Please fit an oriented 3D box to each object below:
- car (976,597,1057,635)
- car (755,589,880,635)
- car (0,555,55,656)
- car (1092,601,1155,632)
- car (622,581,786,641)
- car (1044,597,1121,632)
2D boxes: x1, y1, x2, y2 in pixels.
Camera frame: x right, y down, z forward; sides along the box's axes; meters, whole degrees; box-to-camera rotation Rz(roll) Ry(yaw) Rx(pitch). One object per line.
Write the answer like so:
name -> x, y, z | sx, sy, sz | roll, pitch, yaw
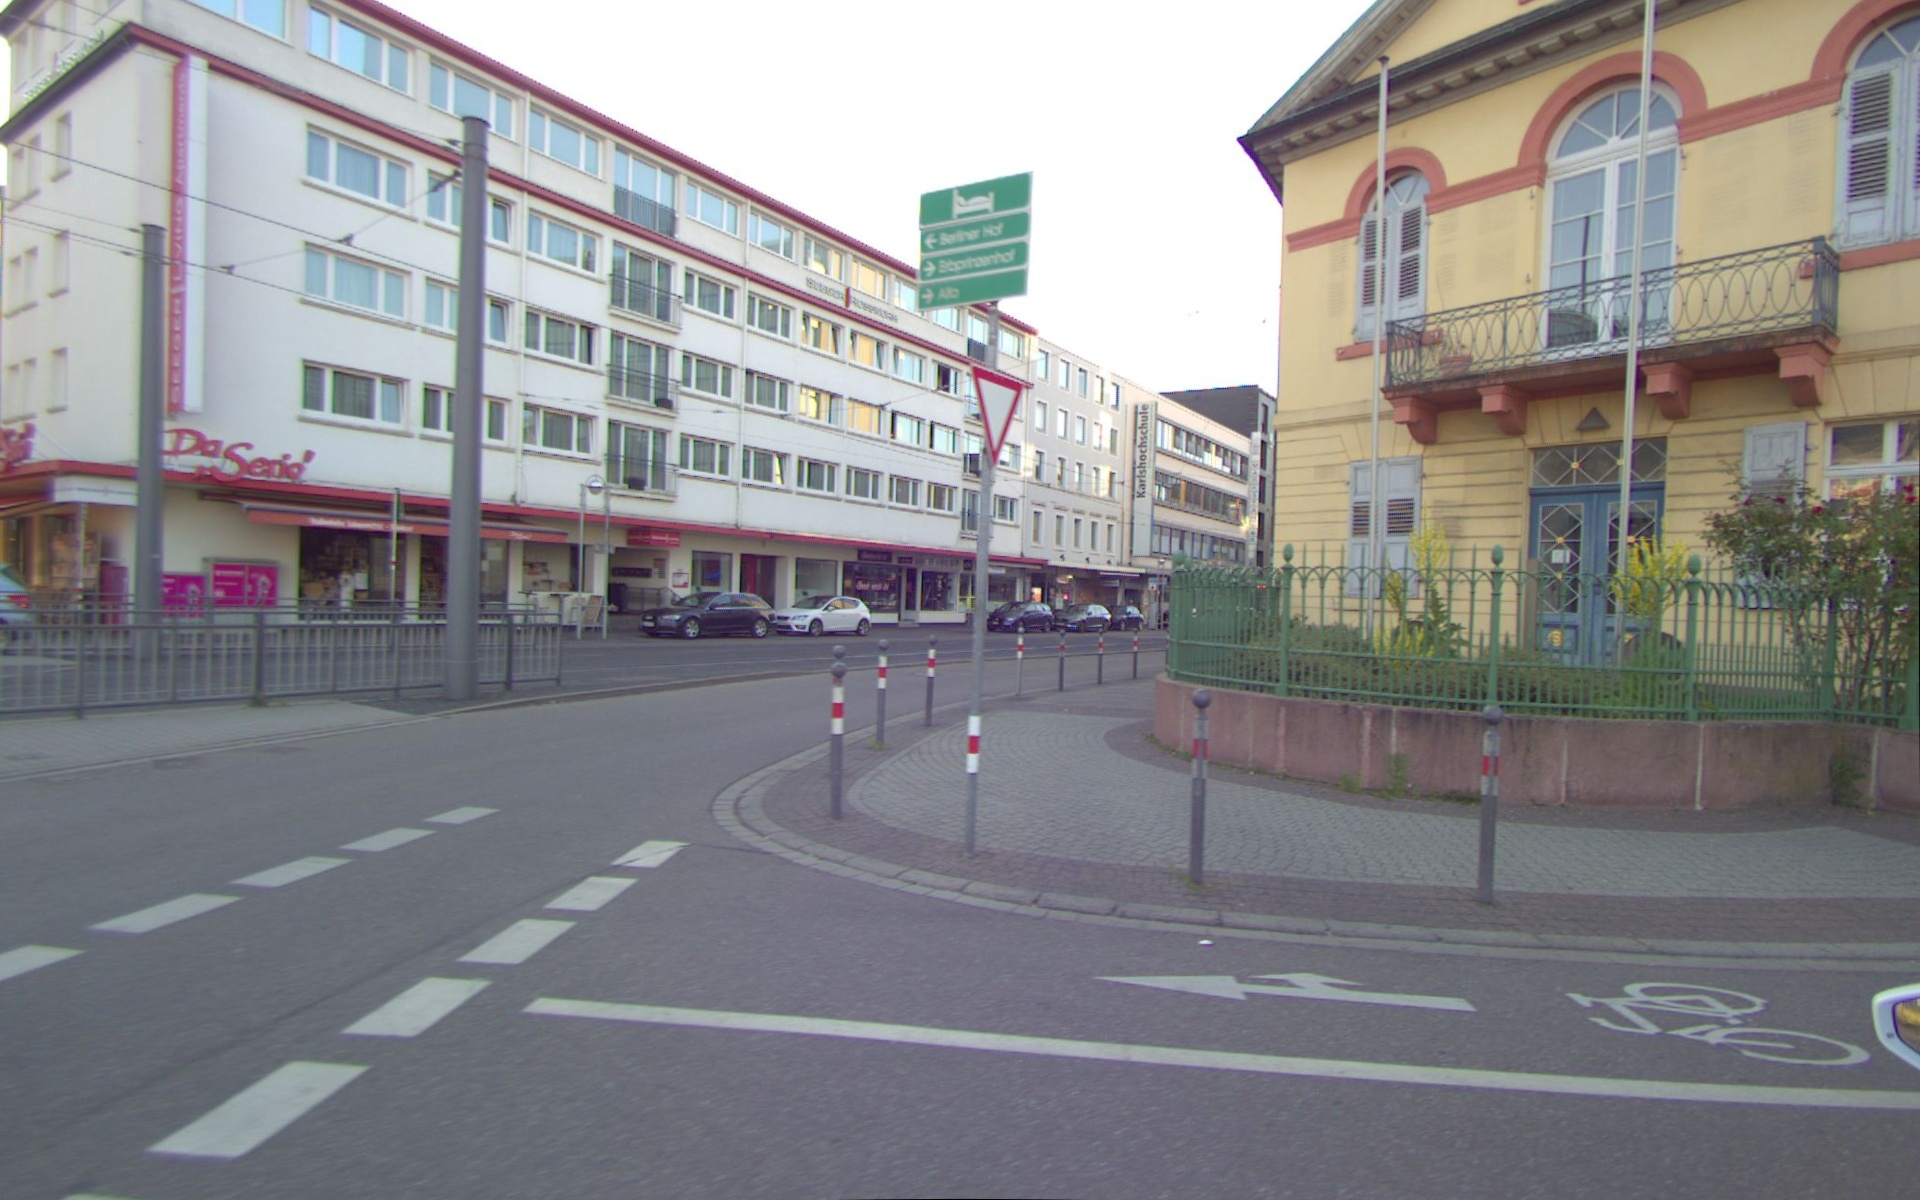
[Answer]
car -> 2.719, 0.768, 47.852 | 1.968, 1.688, 3.986 | 2, 0, 36
car -> -5.069, 0.441, 36.227 | 1.968, 1.484, 4.386 | 2, 0, 36
car -> -16.883, 0.019, 15.415 | 2.173, 1.580, 4.257 | 2, 0, 42
car -> 9.506, 0.987, 58.320 | 1.968, 1.688, 3.986 | 2, 0, 36
car -> -7.925, 0.374, 31.528 | 1.968, 1.688, 4.822 | 2, 0, 36
car -> 6.478, 0.788, 52.816 | 1.968, 1.688, 4.622 | 2, 0, 36
